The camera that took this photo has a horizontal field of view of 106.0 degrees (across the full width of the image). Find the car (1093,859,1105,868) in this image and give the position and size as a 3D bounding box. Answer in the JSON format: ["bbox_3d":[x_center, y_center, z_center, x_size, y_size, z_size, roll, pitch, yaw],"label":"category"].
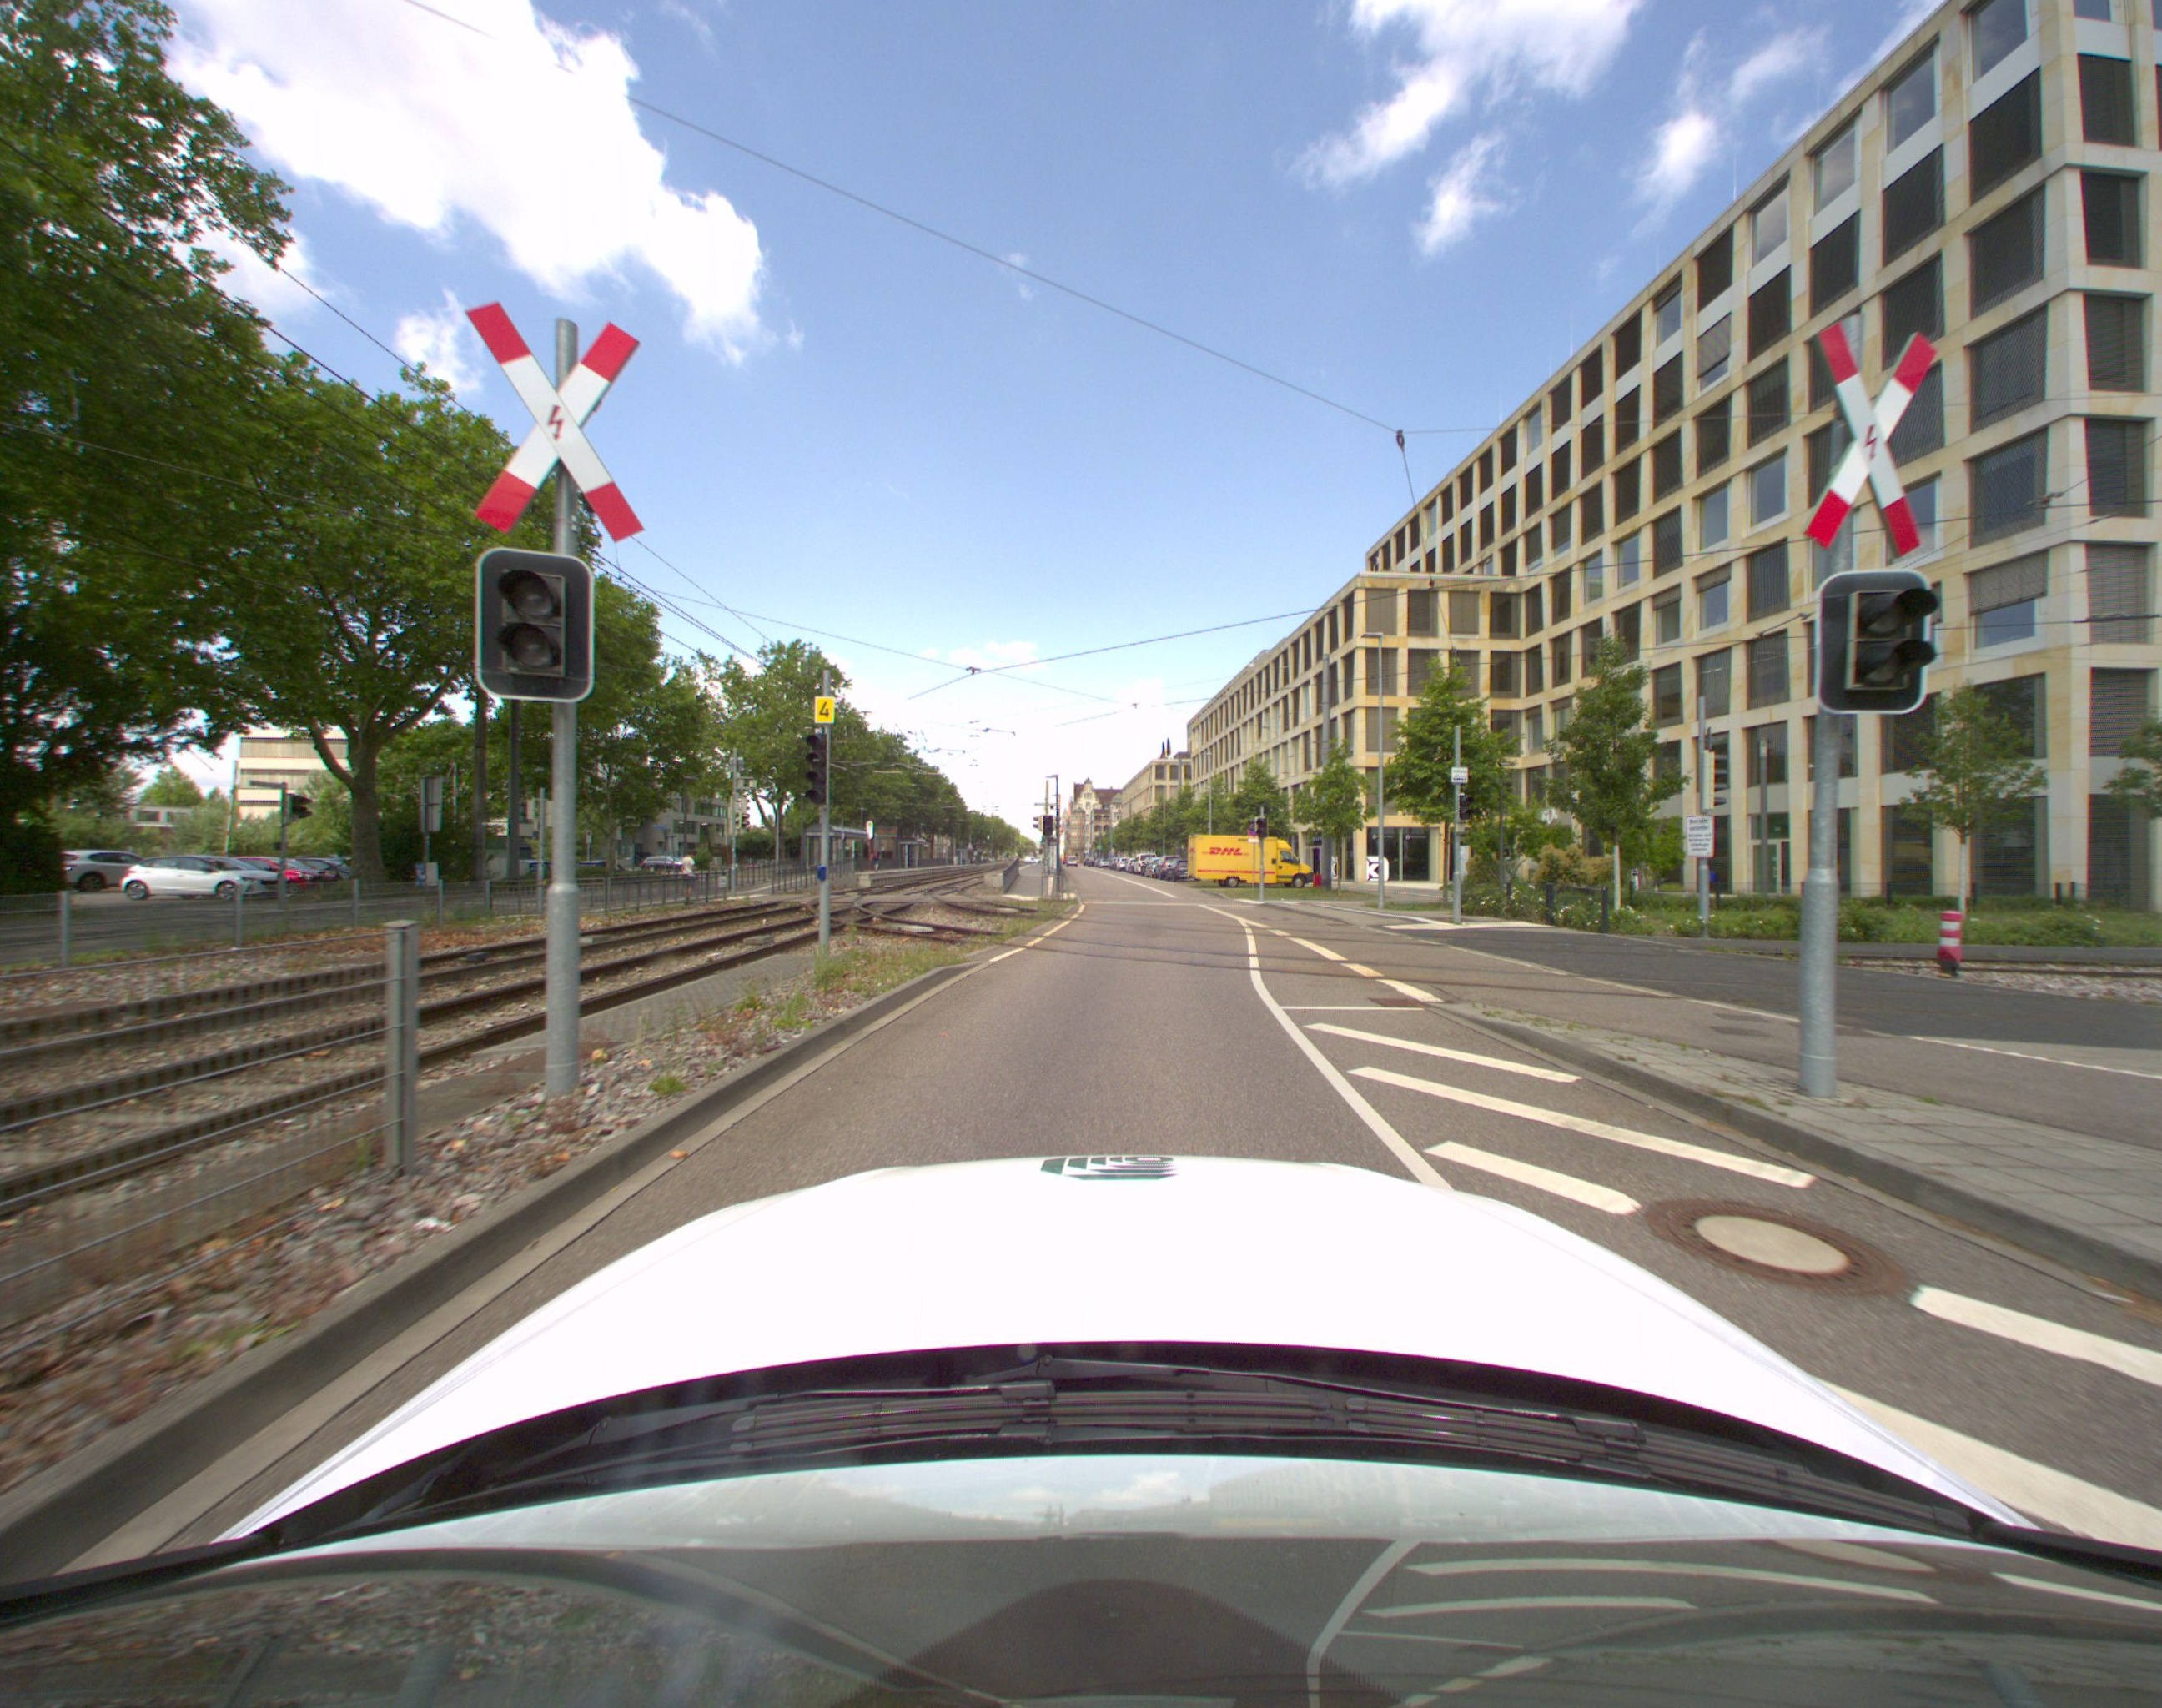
[{"bbox_3d":[3.042,1.576,140.778,1.588,1.434,4.101,2,0,-4],"label":"car"}]

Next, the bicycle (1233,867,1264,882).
[{"bbox_3d":[10.683,1.303,51.841,1.837,0.957,0.519,2,-1,-4],"label":"bicycle"}]

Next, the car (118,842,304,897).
[{"bbox_3d":[-28.726,0.494,27.005,3.981,1.750,1.800,0,0,-6],"label":"car"}]

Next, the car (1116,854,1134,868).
[{"bbox_3d":[5.191,0.879,96.744,1.681,1.606,4.147,-1,0,-2],"label":"car"}]

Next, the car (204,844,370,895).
[{"bbox_3d":[-28.316,0.545,29.158,3.981,1.750,1.800,0,0,-6],"label":"car"}]

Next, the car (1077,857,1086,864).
[{"bbox_3d":[0.047,1.384,167.220,1.440,1.470,4.086,-2,0,-4],"label":"car"}]

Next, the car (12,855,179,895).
[{"bbox_3d":[-38.598,0.763,32.065,1.793,1.476,3.996,0,0,-3],"label":"car"}]

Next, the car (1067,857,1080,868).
[{"bbox_3d":[-1.289,1.398,139.009,1.864,1.746,3.995,2,-1,-3],"label":"car"}]

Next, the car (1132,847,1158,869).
[{"bbox_3d":[5.943,0.350,75.981,1.877,1.939,4.838,-1,0,-2],"label":"car"}]

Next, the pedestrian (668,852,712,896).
[{"bbox_3d":[-12.219,0.617,25.460,0.916,1.343,0.865,-1,-1,2],"label":"pedestrian"}]

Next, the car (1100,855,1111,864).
[{"bbox_3d":[3.904,0.876,129.276,1.587,1.460,3.611,2,0,-1],"label":"car"}]

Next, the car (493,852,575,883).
[{"bbox_3d":[-27.959,0.660,41.760,1.685,1.534,3.654,0,0,1],"label":"car"}]

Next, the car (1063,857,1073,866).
[{"bbox_3d":[-2.909,1.714,179.919,1.988,2.014,3.996,-1,-1,-2],"label":"car"}]

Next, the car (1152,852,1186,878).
[{"bbox_3d":[6.337,0.790,59.395,1.765,1.767,4.835,0,0,-2],"label":"car"}]

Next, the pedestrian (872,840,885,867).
[{"bbox_3d":[-14.015,-0.062,56.286,0.704,1.845,0.863,0,0,-4],"label":"pedestrian"}]

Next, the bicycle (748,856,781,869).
[{"bbox_3d":[-32.180,0.835,82.786,3.027,1.167,0.634,3,-1,2],"label":"bicycle"}]

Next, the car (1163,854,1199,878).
[{"bbox_3d":[6.598,0.764,54.011,1.687,1.505,4.064,0,0,-2],"label":"car"}]

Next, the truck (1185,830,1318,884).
[{"bbox_3d":[9.325,0.194,44.803,6.794,2.867,2.450,0,-1,-5],"label":"truck"}]

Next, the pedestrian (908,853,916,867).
[{"bbox_3d":[-16.255,0.572,78.340,0.551,1.269,0.767,1,0,-1],"label":"pedestrian"}]

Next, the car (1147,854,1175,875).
[{"bbox_3d":[6.316,0.825,64.550,1.717,1.620,3.856,0,0,-3],"label":"car"}]
